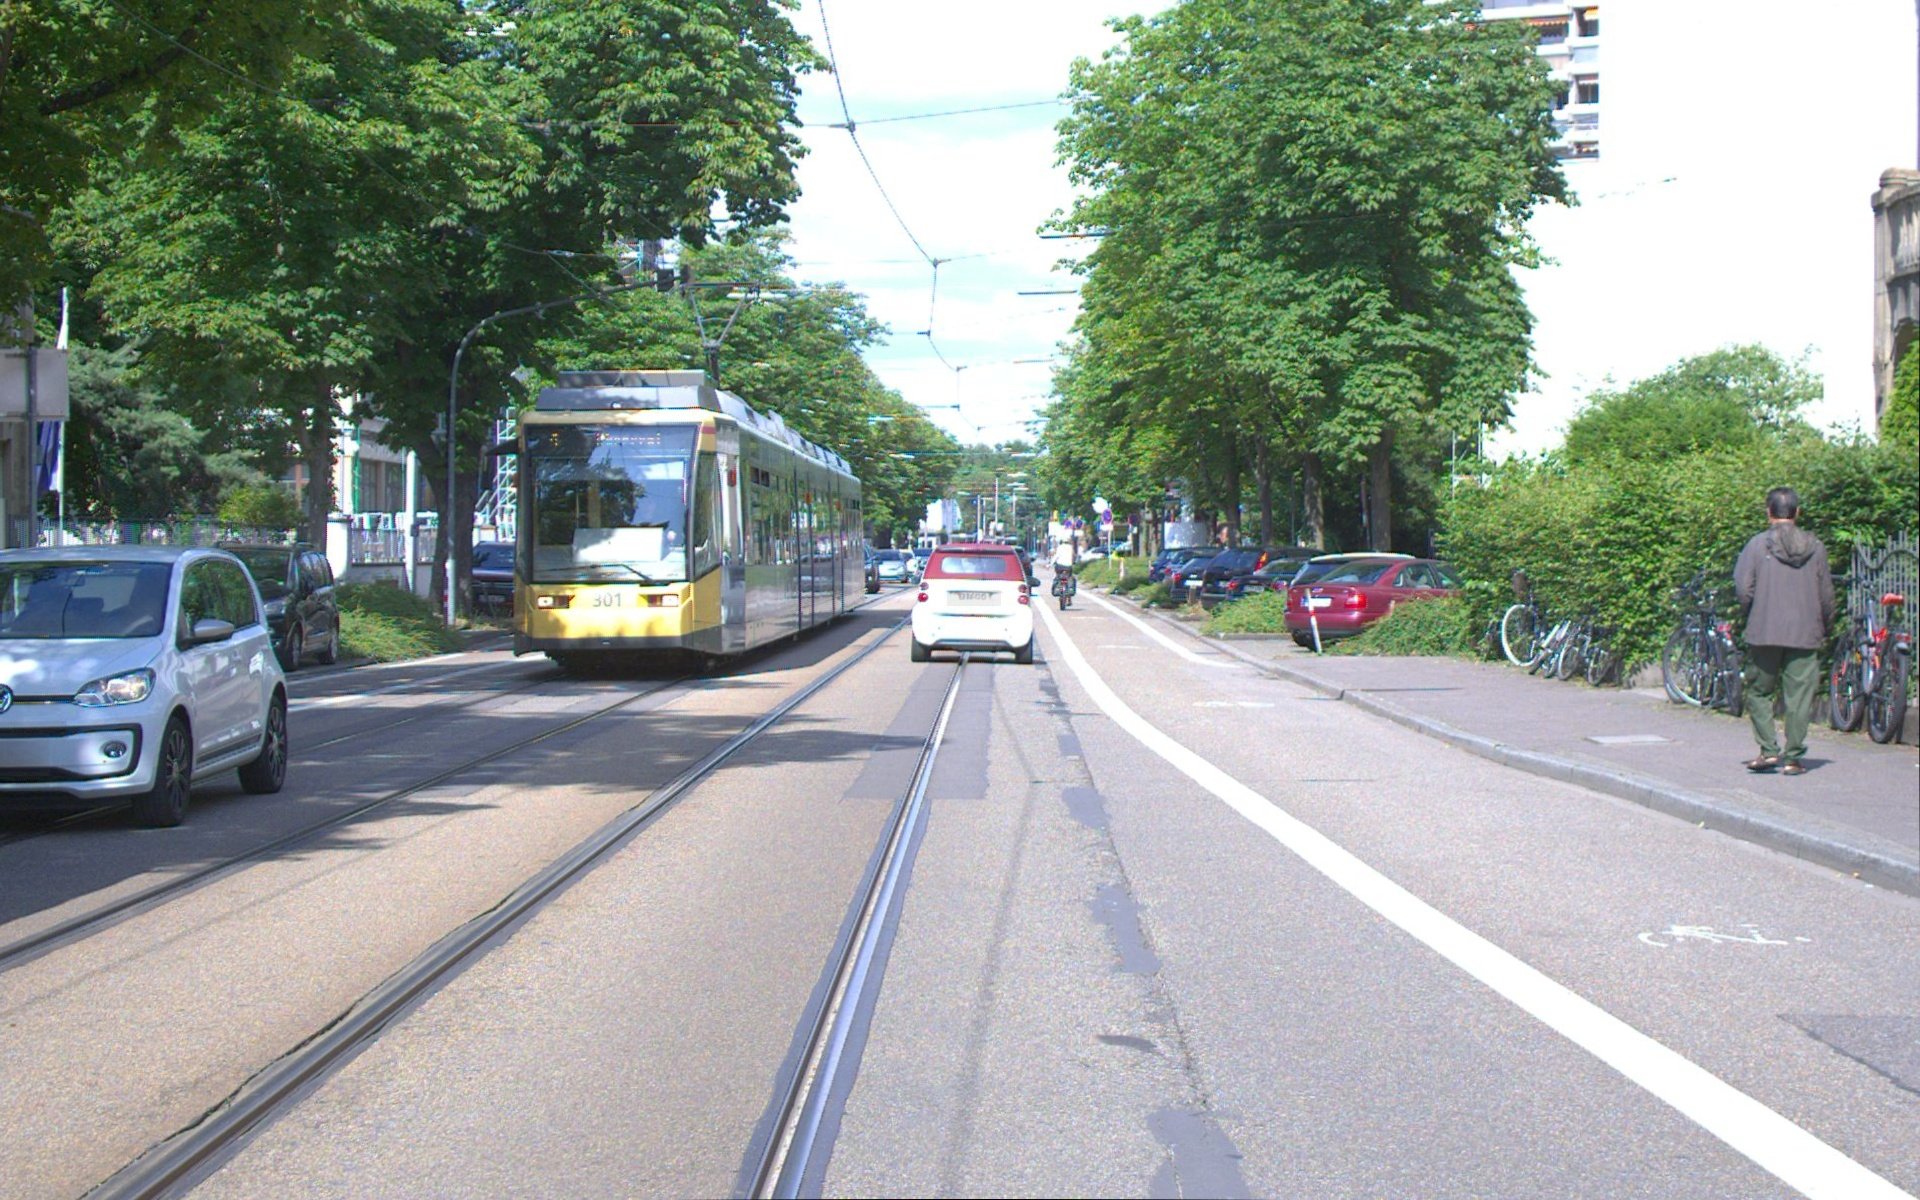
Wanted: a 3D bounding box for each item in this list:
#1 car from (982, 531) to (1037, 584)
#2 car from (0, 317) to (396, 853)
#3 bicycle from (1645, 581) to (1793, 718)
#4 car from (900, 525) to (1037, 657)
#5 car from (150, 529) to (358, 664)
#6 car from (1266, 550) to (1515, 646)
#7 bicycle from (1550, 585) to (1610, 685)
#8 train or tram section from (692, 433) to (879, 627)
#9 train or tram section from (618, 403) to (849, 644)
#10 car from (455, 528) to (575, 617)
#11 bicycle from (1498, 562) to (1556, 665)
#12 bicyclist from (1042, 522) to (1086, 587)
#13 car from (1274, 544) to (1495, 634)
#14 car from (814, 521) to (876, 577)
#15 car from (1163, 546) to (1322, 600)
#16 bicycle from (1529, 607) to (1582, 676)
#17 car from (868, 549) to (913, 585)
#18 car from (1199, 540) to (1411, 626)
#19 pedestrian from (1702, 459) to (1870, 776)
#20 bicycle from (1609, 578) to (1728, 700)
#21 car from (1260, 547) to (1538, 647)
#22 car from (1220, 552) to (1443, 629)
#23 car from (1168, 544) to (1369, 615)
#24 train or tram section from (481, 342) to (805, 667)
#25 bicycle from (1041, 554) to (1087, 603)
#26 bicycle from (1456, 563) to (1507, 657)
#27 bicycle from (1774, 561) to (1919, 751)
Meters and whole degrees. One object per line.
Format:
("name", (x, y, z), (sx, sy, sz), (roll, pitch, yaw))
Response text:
("car", (1.531, -1.316, 106.411), (1.665, 1.619, 3.621), (0, 1, 1))
("car", (-4.802, -0.127, 19.200), (2.316, 2.499, 6.364), (0, 1, -1))
("bicycle", (5.946, 0.366, 27.045), (0.610, 0.992, 2.362), (-3, 1, 0))
("car", (0.150, -0.128, 45.256), (1.665, 1.619, 3.620), (2, 1, 1))
("car", (-9.263, -0.067, 45.448), (1.806, 1.635, 4.332), (2, 1, 0))
("car", (6.877, -0.038, 54.707), (3.989, 1.443, 1.699), (0, 1, -42))
("bicycle", (6.213, 0.338, 34.482), (0.273, 0.904, 1.668), (-3, 2, 1))
("train or tram section", (-3.238, -1.303, 67.667), (2.653, 3.344, 14.108), (-2, 1, 1))
("train or tram section", (-3.431, -1.150, 54.973), (2.653, 3.377, 11.473), (-2, 1, 1))
("car", (-8.846, -0.561, 68.675), (1.750, 1.660, 4.721), (2, 1, 0))
("bicycle", (6.305, 0.141, 38.265), (0.279, 1.105, 2.011), (-3, 0, 1))
("bicyclist", (2.485, -1.082, 82.093), (0.890, 1.523, 1.085), (2, 0, 7))
("car", (7.197, -0.193, 58.089), (3.989, 1.456, 1.535), (0, 1, -45))
("car", (-3.733, -1.654, 112.035), (1.825, 1.721, 4.391), (2, 1, 0))
("car", (7.753, -0.740, 94.235), (4.230, 1.415, 1.723), (0, 2, -37))
("bicycle", (6.290, 0.430, 36.357), (0.279, 0.675, 1.559), (-3, 0, 1))
("car", (-2.912, -1.397, 144.884), (1.773, 1.411, 3.852), (-3, 1, 0))
("car", (6.820, -0.325, 67.751), (3.988, 1.569, 1.905), (1, 1, -41))
("pedestrian", (4.962, 0.100, 20.676), (0.787, 1.855, 0.580), (-2, 1, -6))
("bicycle", (6.048, 0.318, 29.443), (0.612, 0.985, 1.872), (-2, 1, 0))
("car", (6.615, -0.069, 51.537), (4.148, 1.418, 1.866), (-1, 1, -41))
("car", (7.030, -0.165, 64.811), (4.164, 1.344, 1.904), (1, 1, -44))
("car", (7.000, -0.459, 77.693), (4.524, 1.437, 2.030), (2, 0, -44))
("train or tram section", (-3.691, -1.081, 43.169), (2.653, 3.425, 12.315), (-2, 1, 1))
("bicycle", (2.481, -0.515, 82.049), (0.875, 1.122, 2.135), (2, 1, 7))
("bicycle", (6.335, 0.106, 41.783), (0.279, 1.105, 2.011), (-3, 0, 1))
("bicycle", (6.249, 0.351, 23.569), (0.740, 1.227, 2.516), (0, 1, 0))
